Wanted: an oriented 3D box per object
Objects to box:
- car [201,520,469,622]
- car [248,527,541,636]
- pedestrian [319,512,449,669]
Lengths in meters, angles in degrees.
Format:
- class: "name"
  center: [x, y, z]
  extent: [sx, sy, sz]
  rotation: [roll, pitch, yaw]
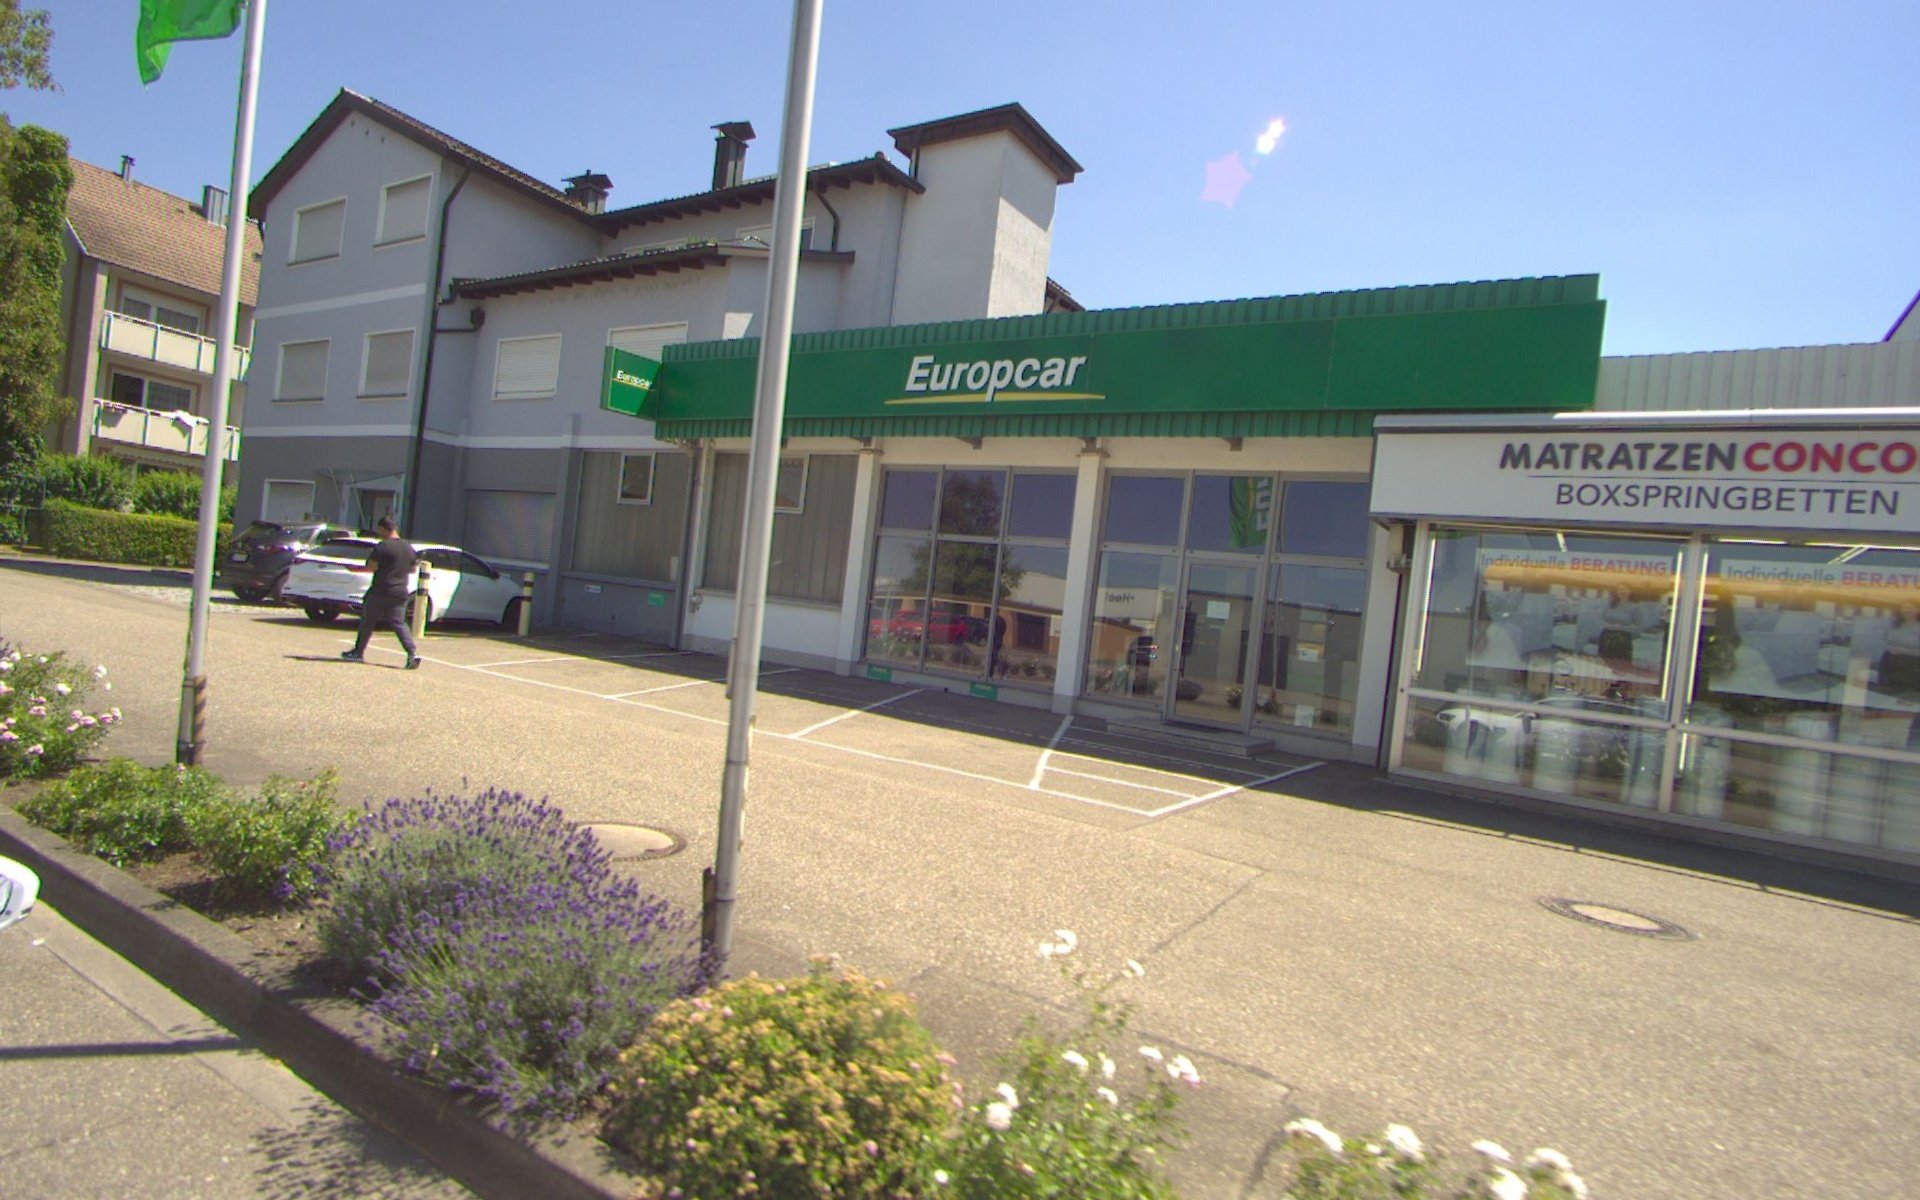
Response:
- class: "car"
  center: [-11.961, -0.504, 19.517]
  extent: [1.768, 1.570, 3.991]
  rotation: [6, 0, 30]
- class: "car"
  center: [-9.194, -0.205, 16.881]
  extent: [1.918, 1.387, 4.362]
  rotation: [6, -1, 8]
- class: "pedestrian"
  center: [-6.552, -0.099, 11.440]
  extent: [0.994, 1.662, 0.840]
  rotation: [6, 1, 35]
